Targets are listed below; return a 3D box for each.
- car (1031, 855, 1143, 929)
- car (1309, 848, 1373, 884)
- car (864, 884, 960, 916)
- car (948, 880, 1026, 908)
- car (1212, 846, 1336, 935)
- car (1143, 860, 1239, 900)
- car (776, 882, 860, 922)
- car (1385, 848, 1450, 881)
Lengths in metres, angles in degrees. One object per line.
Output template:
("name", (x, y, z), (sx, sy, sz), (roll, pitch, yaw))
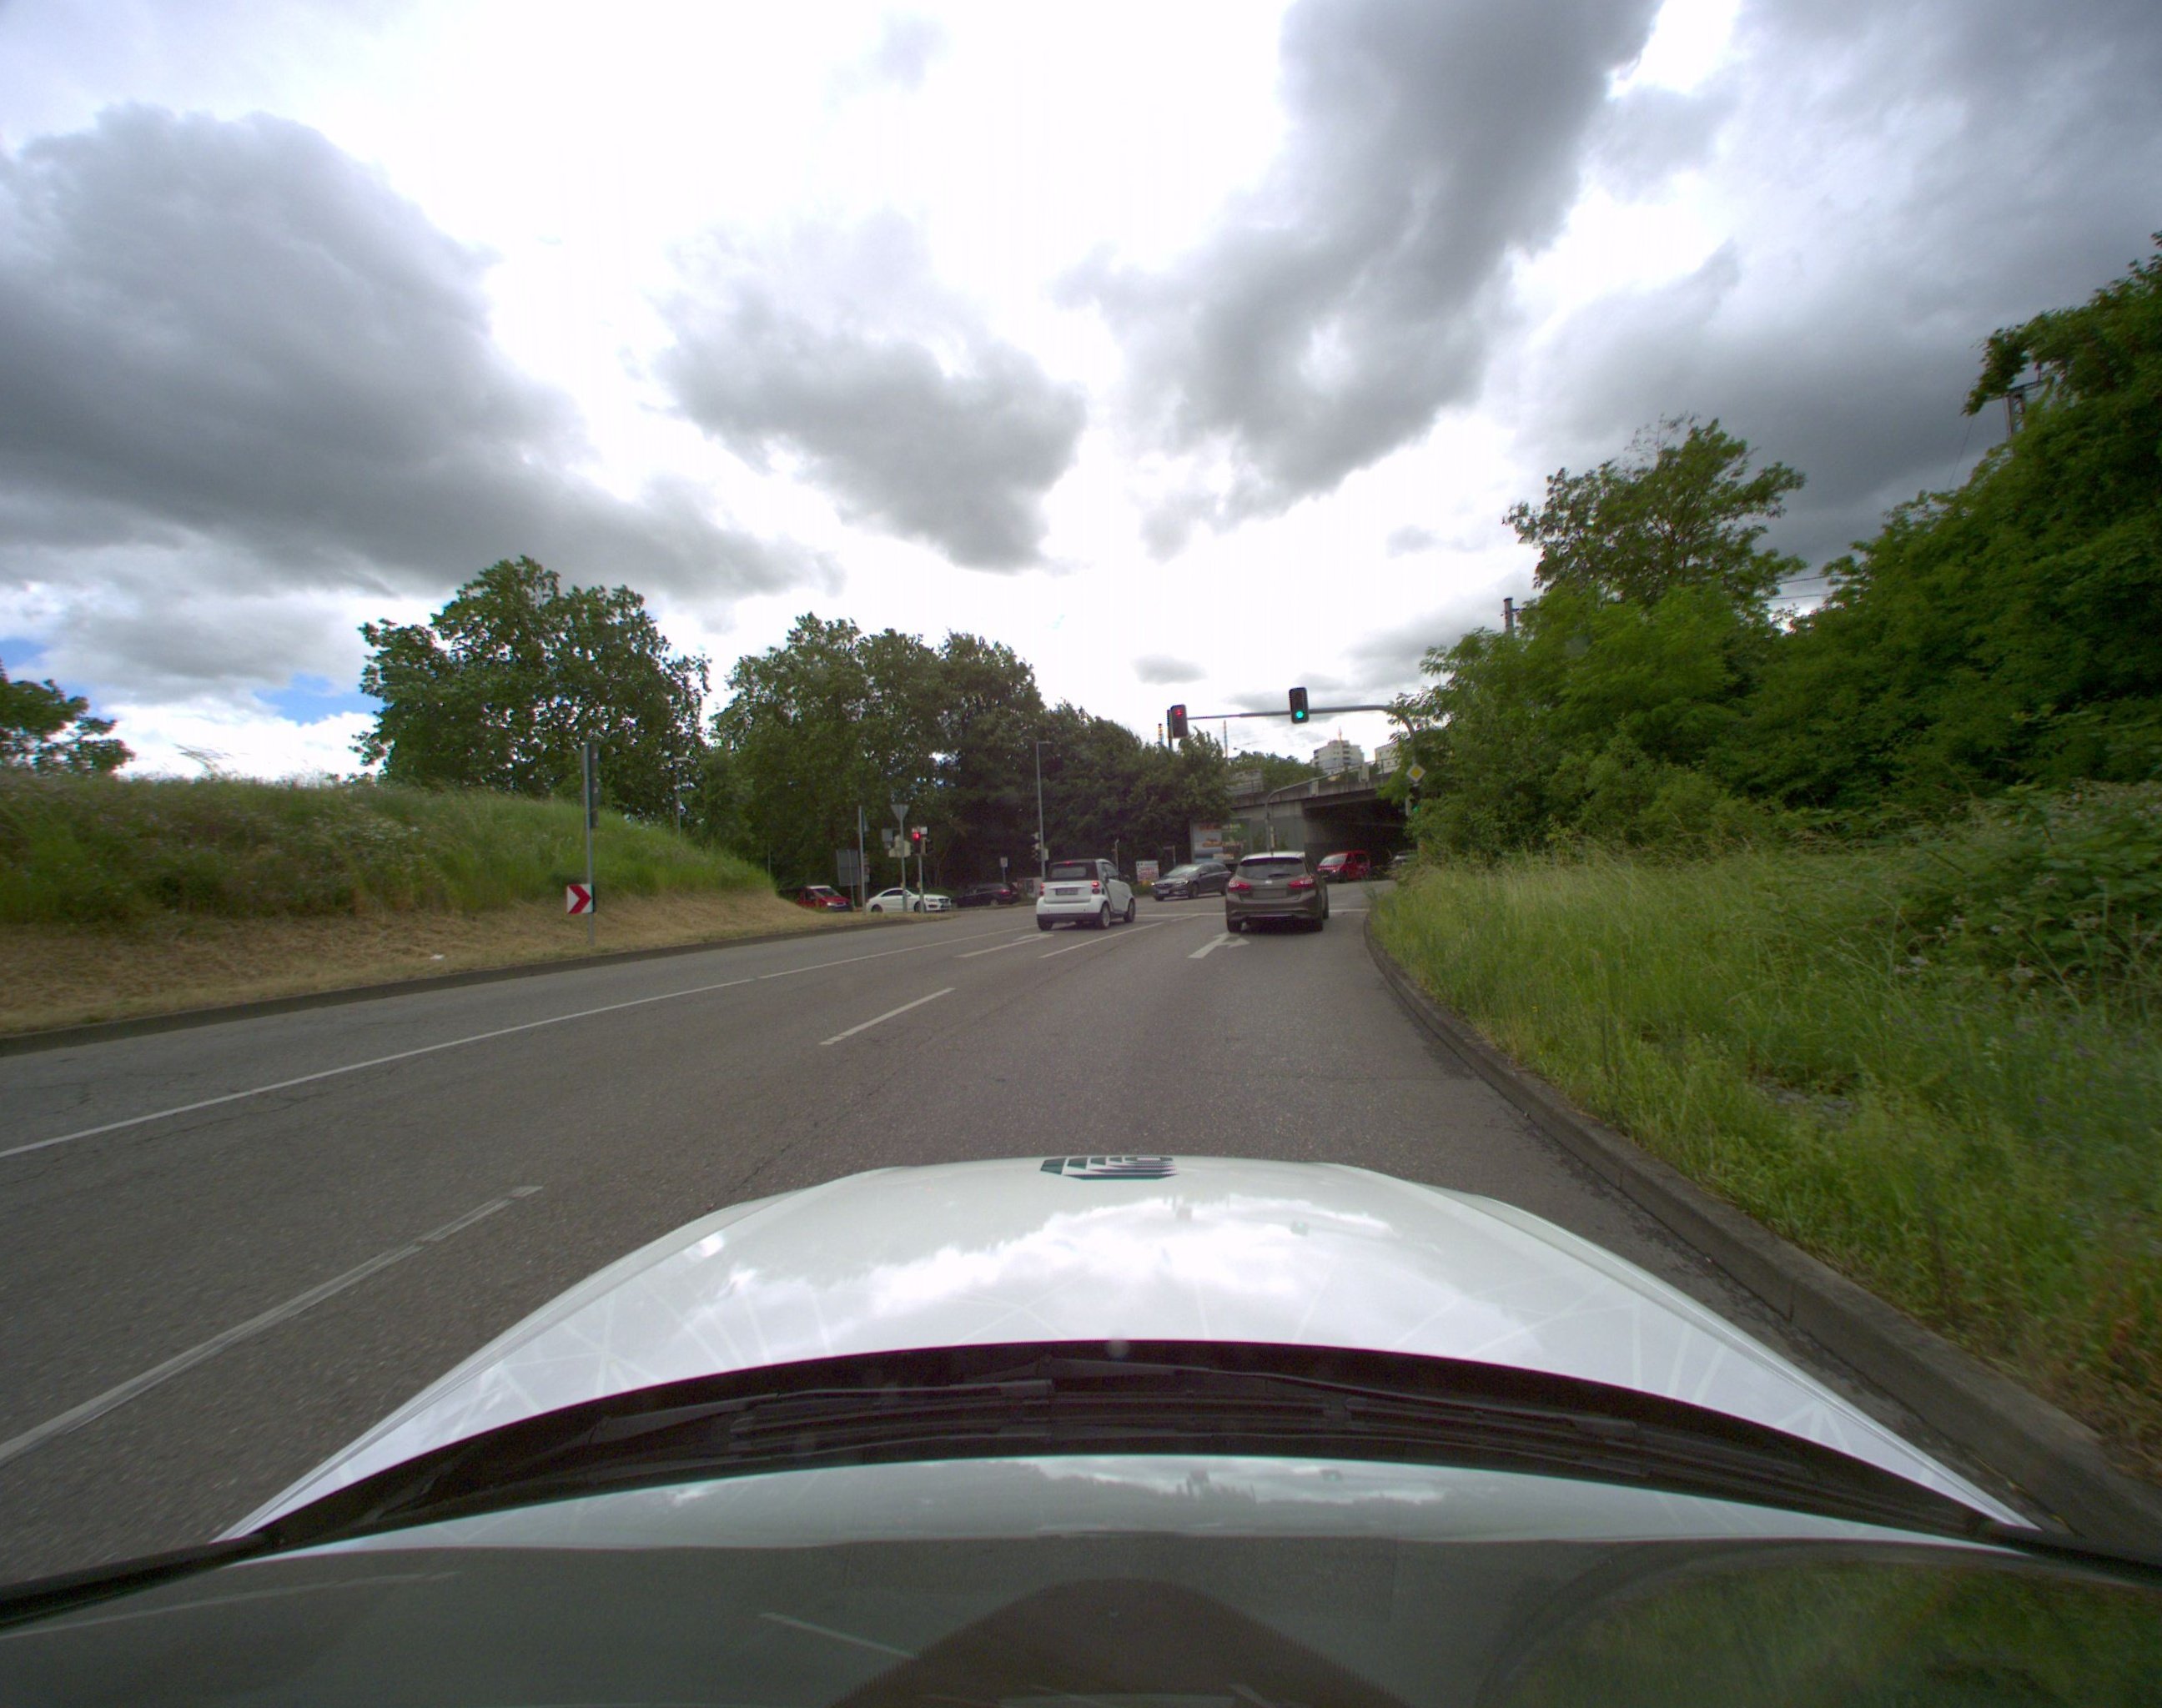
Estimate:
("car", (0.222, 0.833, 18.941), (1.562, 1.557, 3.033), (-2, 0, 22))
("car", (14.782, 0.649, 46.185), (1.671, 1.825, 4.756), (-5, -2, 40))
("car", (-8.480, 2.326, 40.868), (4.364, 1.339, 2.011), (-5, -4, 25))
("car", (-5.417, 2.327, 46.879), (3.993, 1.451, 1.864), (-3, -3, 19))
("car", (4.062, 0.662, 16.629), (1.829, 1.493, 4.021), (-4, 0, 21))
("car", (4.644, 1.073, 34.039), (1.748, 1.420, 4.449), (-4, -2, 41))
("car", (-14.071, 2.573, 43.575), (3.988, 1.813, 1.866), (-5, -3, 26))
("car", (15.879, 0.457, 38.323), (1.881, 1.466, 4.025), (0, 0, 37))
